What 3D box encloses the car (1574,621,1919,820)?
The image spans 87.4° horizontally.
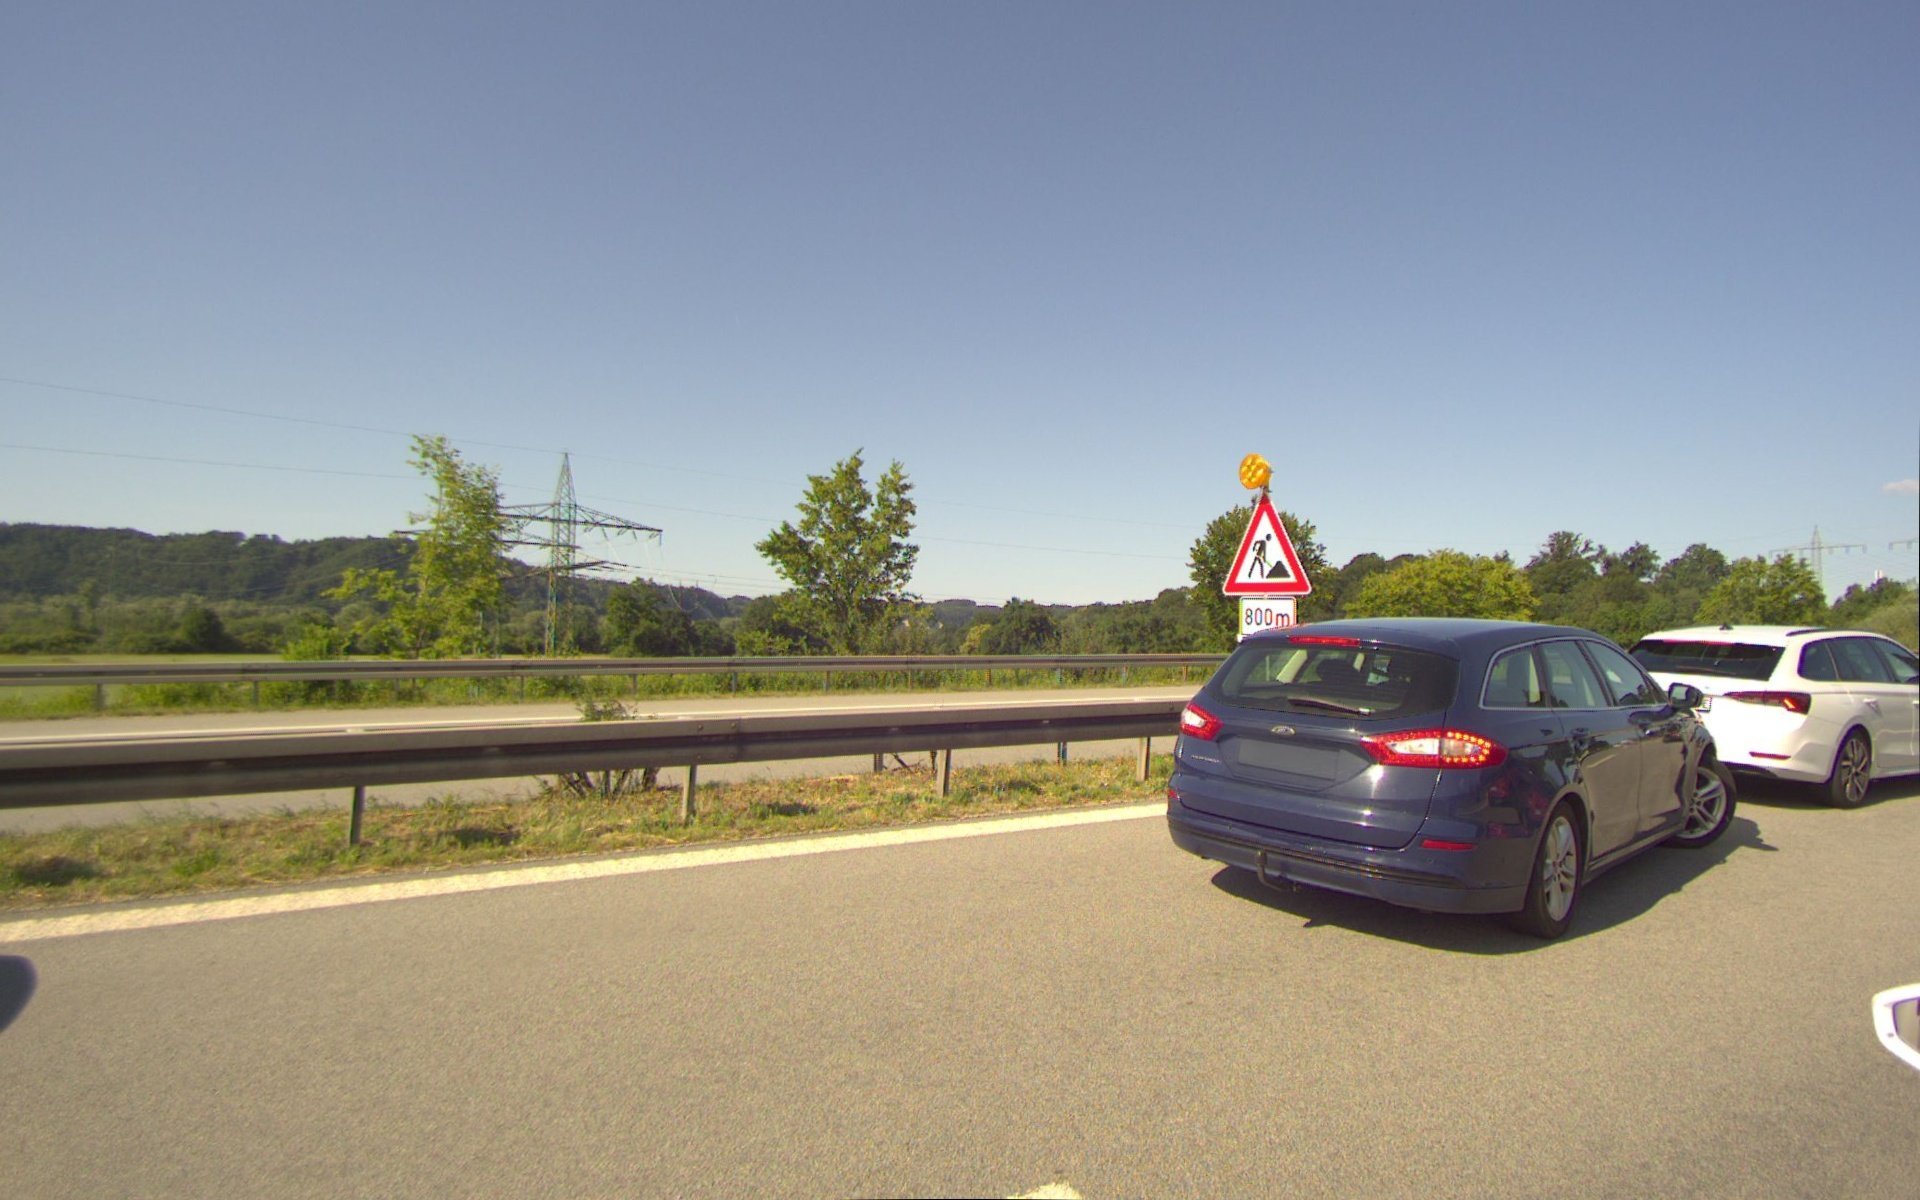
[{"bbox_3d":[7.793,0.972,9.390,4.159,1.461,1.687,1,0,-29],"label":"car"}]

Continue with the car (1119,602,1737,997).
[{"bbox_3d":[3.063,0.824,6.020,4.459,1.513,1.772,2,-2,-42],"label":"car"}]
